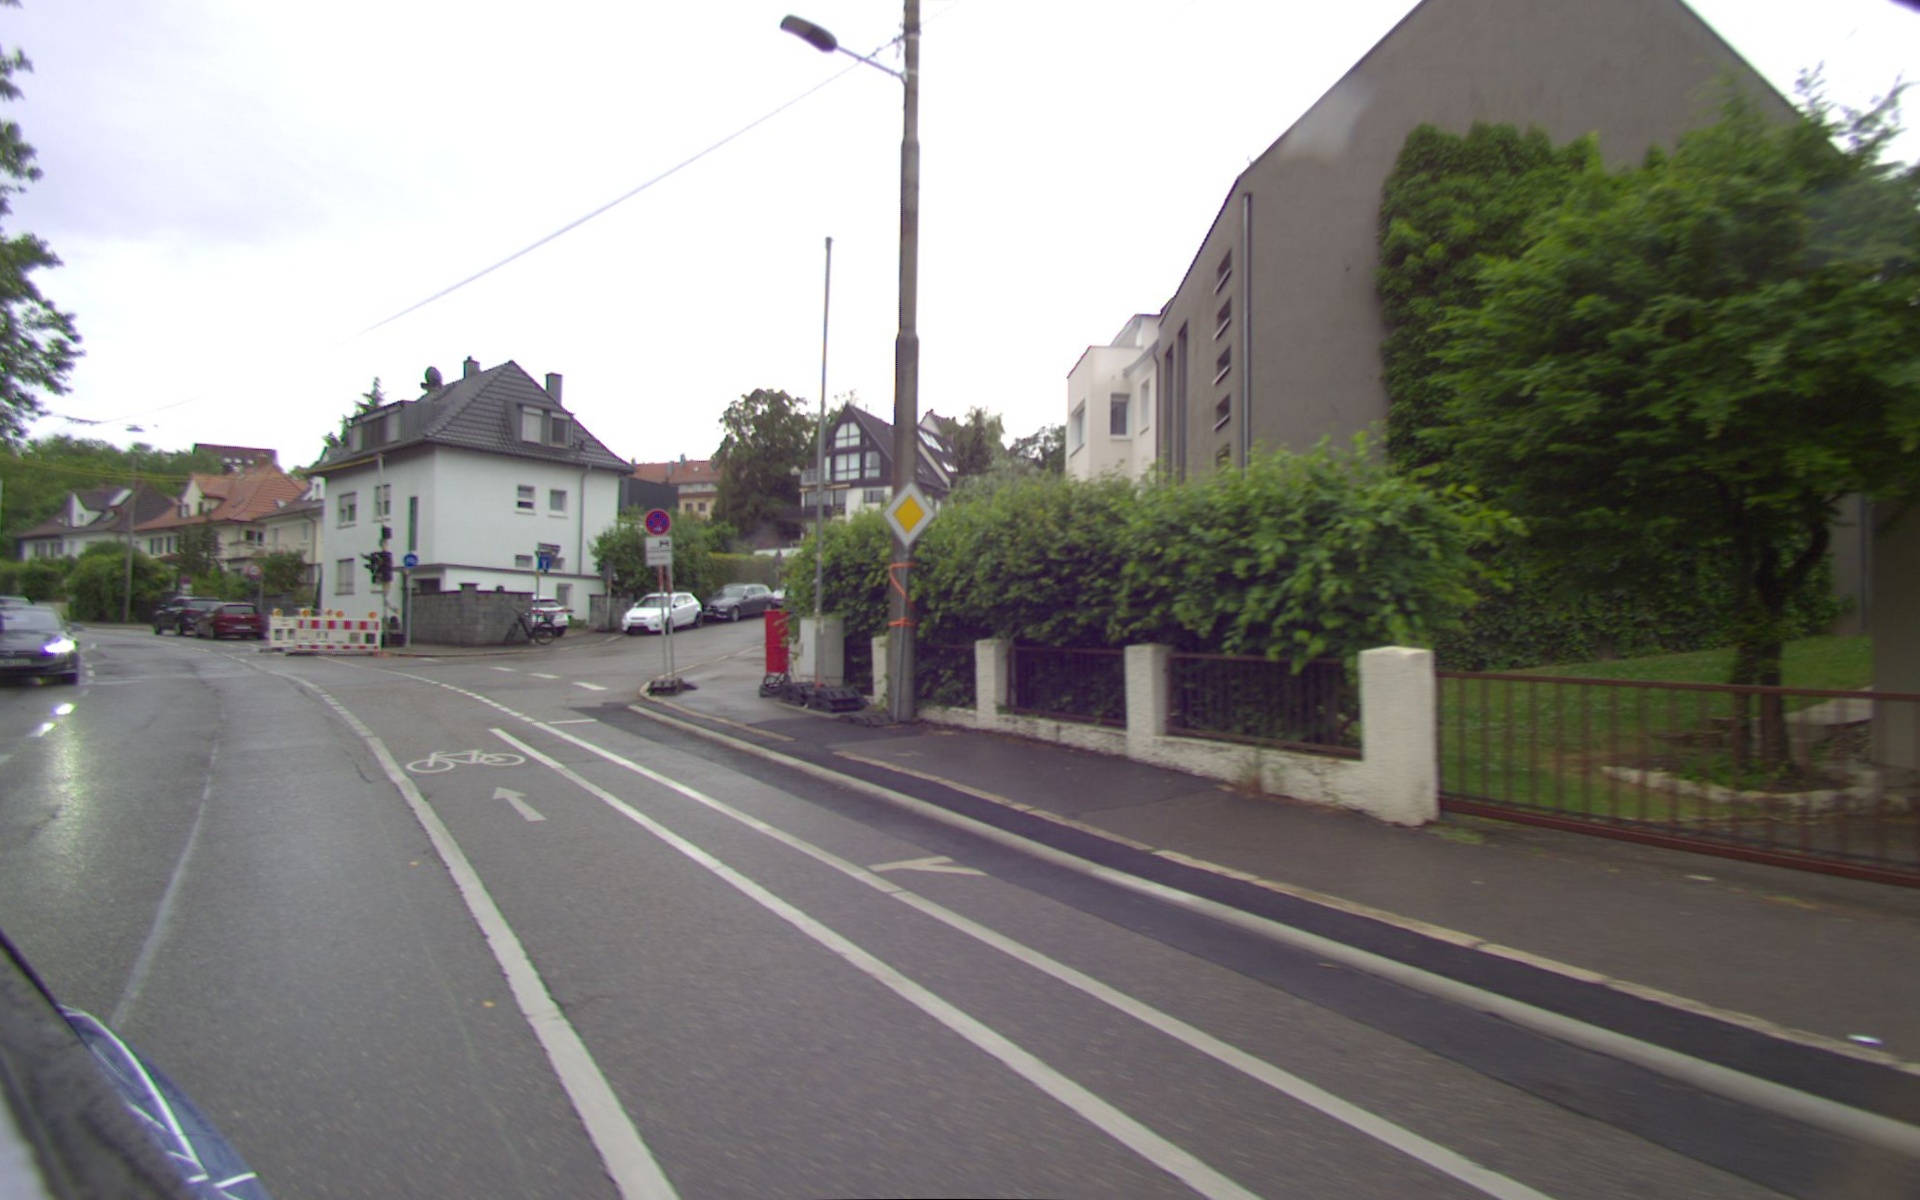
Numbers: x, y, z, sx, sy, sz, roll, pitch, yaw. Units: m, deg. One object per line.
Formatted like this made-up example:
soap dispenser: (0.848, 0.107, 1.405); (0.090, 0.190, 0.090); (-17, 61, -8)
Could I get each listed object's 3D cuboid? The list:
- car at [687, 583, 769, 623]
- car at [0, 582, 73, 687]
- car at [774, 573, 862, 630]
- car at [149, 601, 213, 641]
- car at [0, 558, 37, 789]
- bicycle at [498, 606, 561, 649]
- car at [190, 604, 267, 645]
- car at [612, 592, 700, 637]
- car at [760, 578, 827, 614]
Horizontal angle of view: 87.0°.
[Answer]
car: (-10.141, 0.110, 44.529); (1.691, 1.477, 3.831); (-1, 3, 19)
car: (-18.049, 0.582, 18.900); (3.928, 1.820, 1.926); (0, 0, 44)
car: (-5.688, 0.019, 40.920); (1.901, 1.950, 3.773); (-1, 5, 20)
car: (-33.364, 0.900, 43.331); (4.007, 1.601, 1.646); (-3, -2, 44)
car: (-8.528, 0.609, 7.484); (2.014, 1.908, 5.221); (0, 0, -37)
bicycle: (-13.621, 0.855, 32.029); (1.707, 1.321, 0.708); (0, 0, -45)
car: (-29.114, 1.010, 40.245); (3.798, 1.505, 1.871); (-3, -4, 44)
car: (-11.625, 0.523, 38.949); (1.732, 1.477, 3.548); (-1, 3, 12)
car: (-8.092, -0.217, 49.472); (1.570, 1.476, 3.832); (0, 5, 19)
